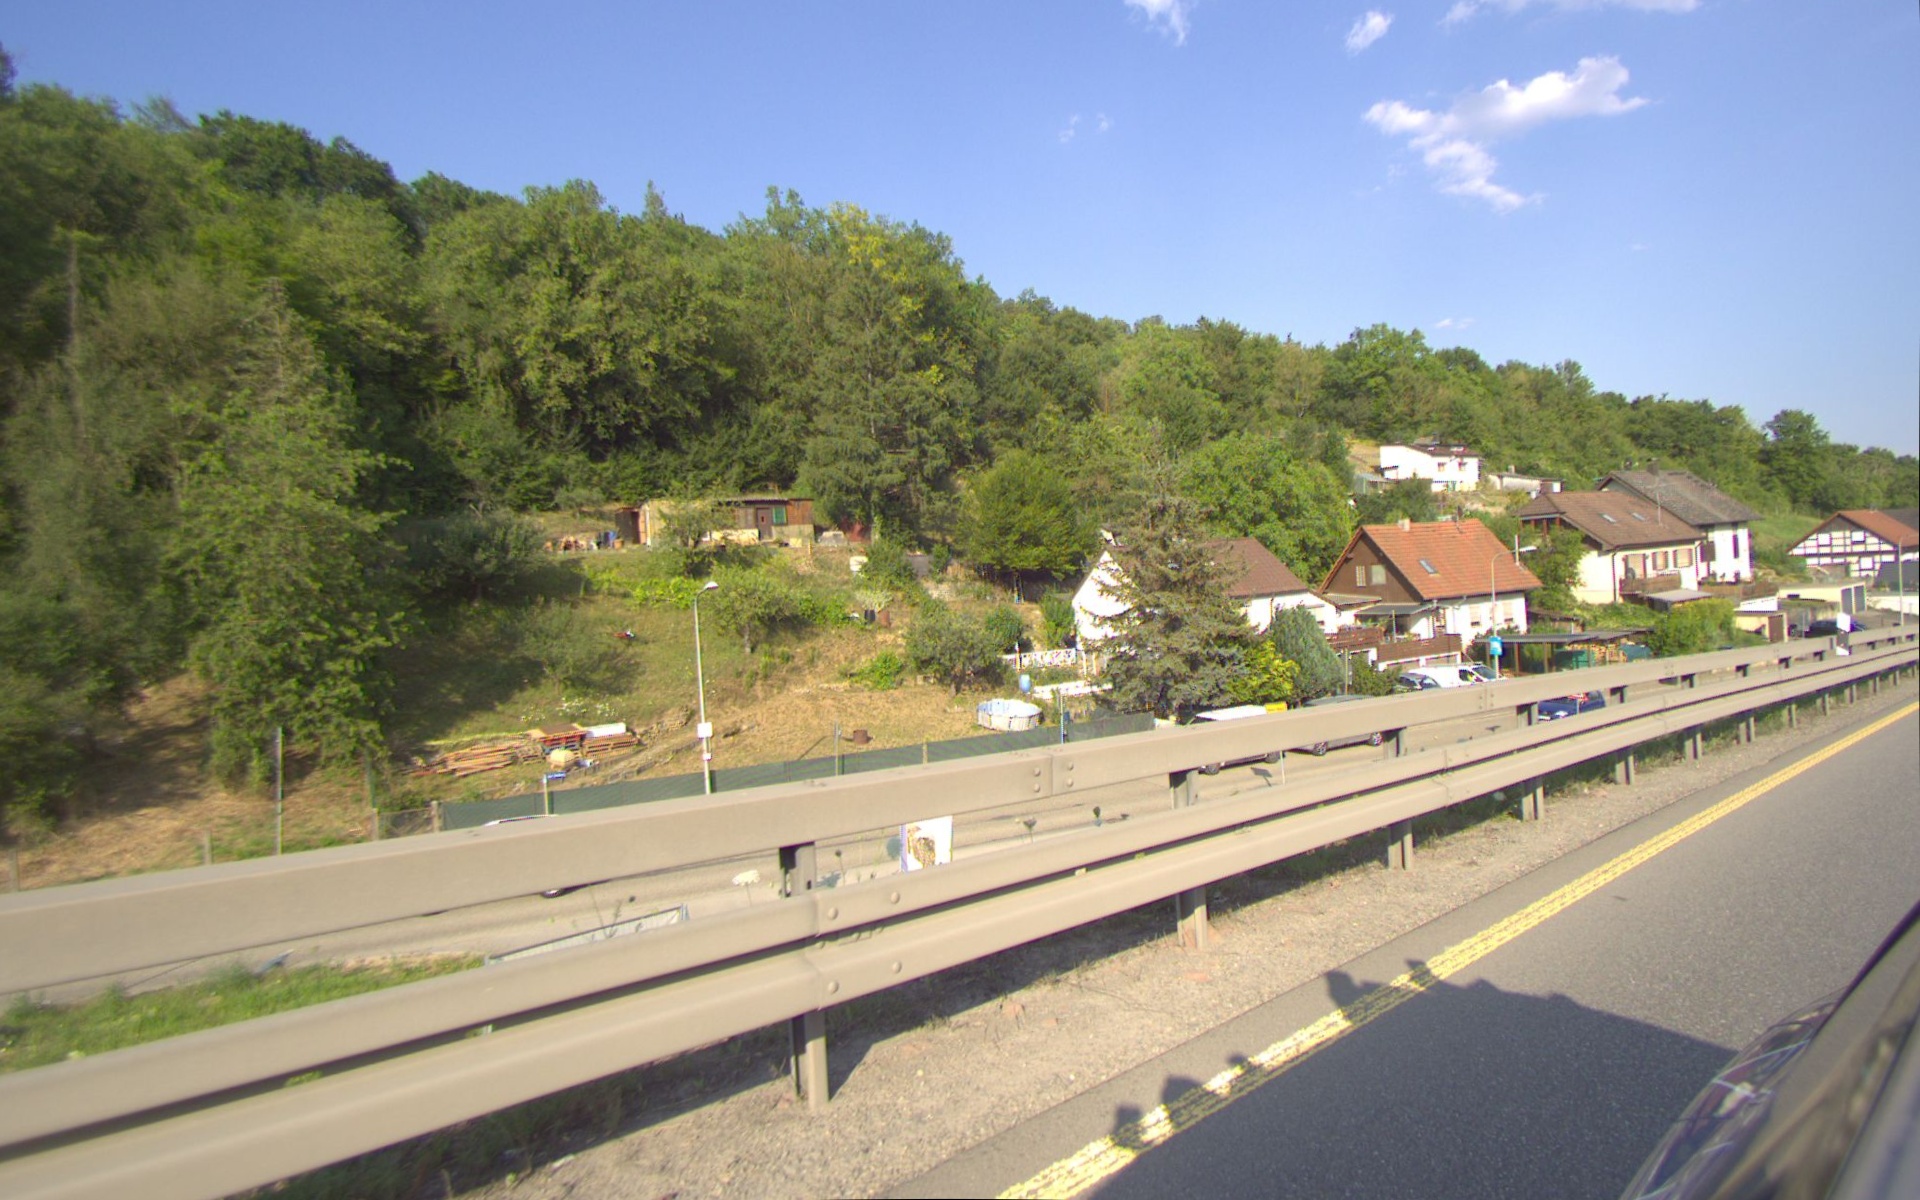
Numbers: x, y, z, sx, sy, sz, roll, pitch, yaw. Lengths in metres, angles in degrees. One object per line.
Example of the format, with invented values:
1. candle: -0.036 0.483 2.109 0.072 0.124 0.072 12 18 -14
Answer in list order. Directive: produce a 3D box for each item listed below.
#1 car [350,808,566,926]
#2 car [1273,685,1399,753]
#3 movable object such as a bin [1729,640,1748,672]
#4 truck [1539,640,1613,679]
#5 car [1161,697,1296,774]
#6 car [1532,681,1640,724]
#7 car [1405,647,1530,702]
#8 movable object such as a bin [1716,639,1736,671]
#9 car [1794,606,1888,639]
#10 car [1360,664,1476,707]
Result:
1. car: -11.748 6.202 23.931 4.405 1.807 1.872 0 1 -25
2. car: 14.890 4.638 40.014 4.766 1.940 2.005 -3 3 -28
3. movable object such as a bin: 45.496 3.296 59.152 0.405 1.794 0.491 -3 -8 -26
4. truck: 34.425 3.305 56.717 1.968 1.760 3.989 -7 -1 9
5. car: 9.951 4.933 37.357 4.953 2.010 1.870 -3 3 -31
6. car: 26.672 4.359 43.180 3.542 1.619 1.775 -1 -3 -9
7. car: 25.716 3.693 51.500 1.961 2.292 5.489 -2 1 -31
8. movable object such as a bin: 44.380 3.171 58.612 0.400 1.794 0.537 -3 -8 -26
9. car: 62.065 1.541 71.364 1.961 1.542 4.519 -3 9 -29
10. car: 22.475 4.151 49.876 1.682 1.576 5.111 -2 2 -31
